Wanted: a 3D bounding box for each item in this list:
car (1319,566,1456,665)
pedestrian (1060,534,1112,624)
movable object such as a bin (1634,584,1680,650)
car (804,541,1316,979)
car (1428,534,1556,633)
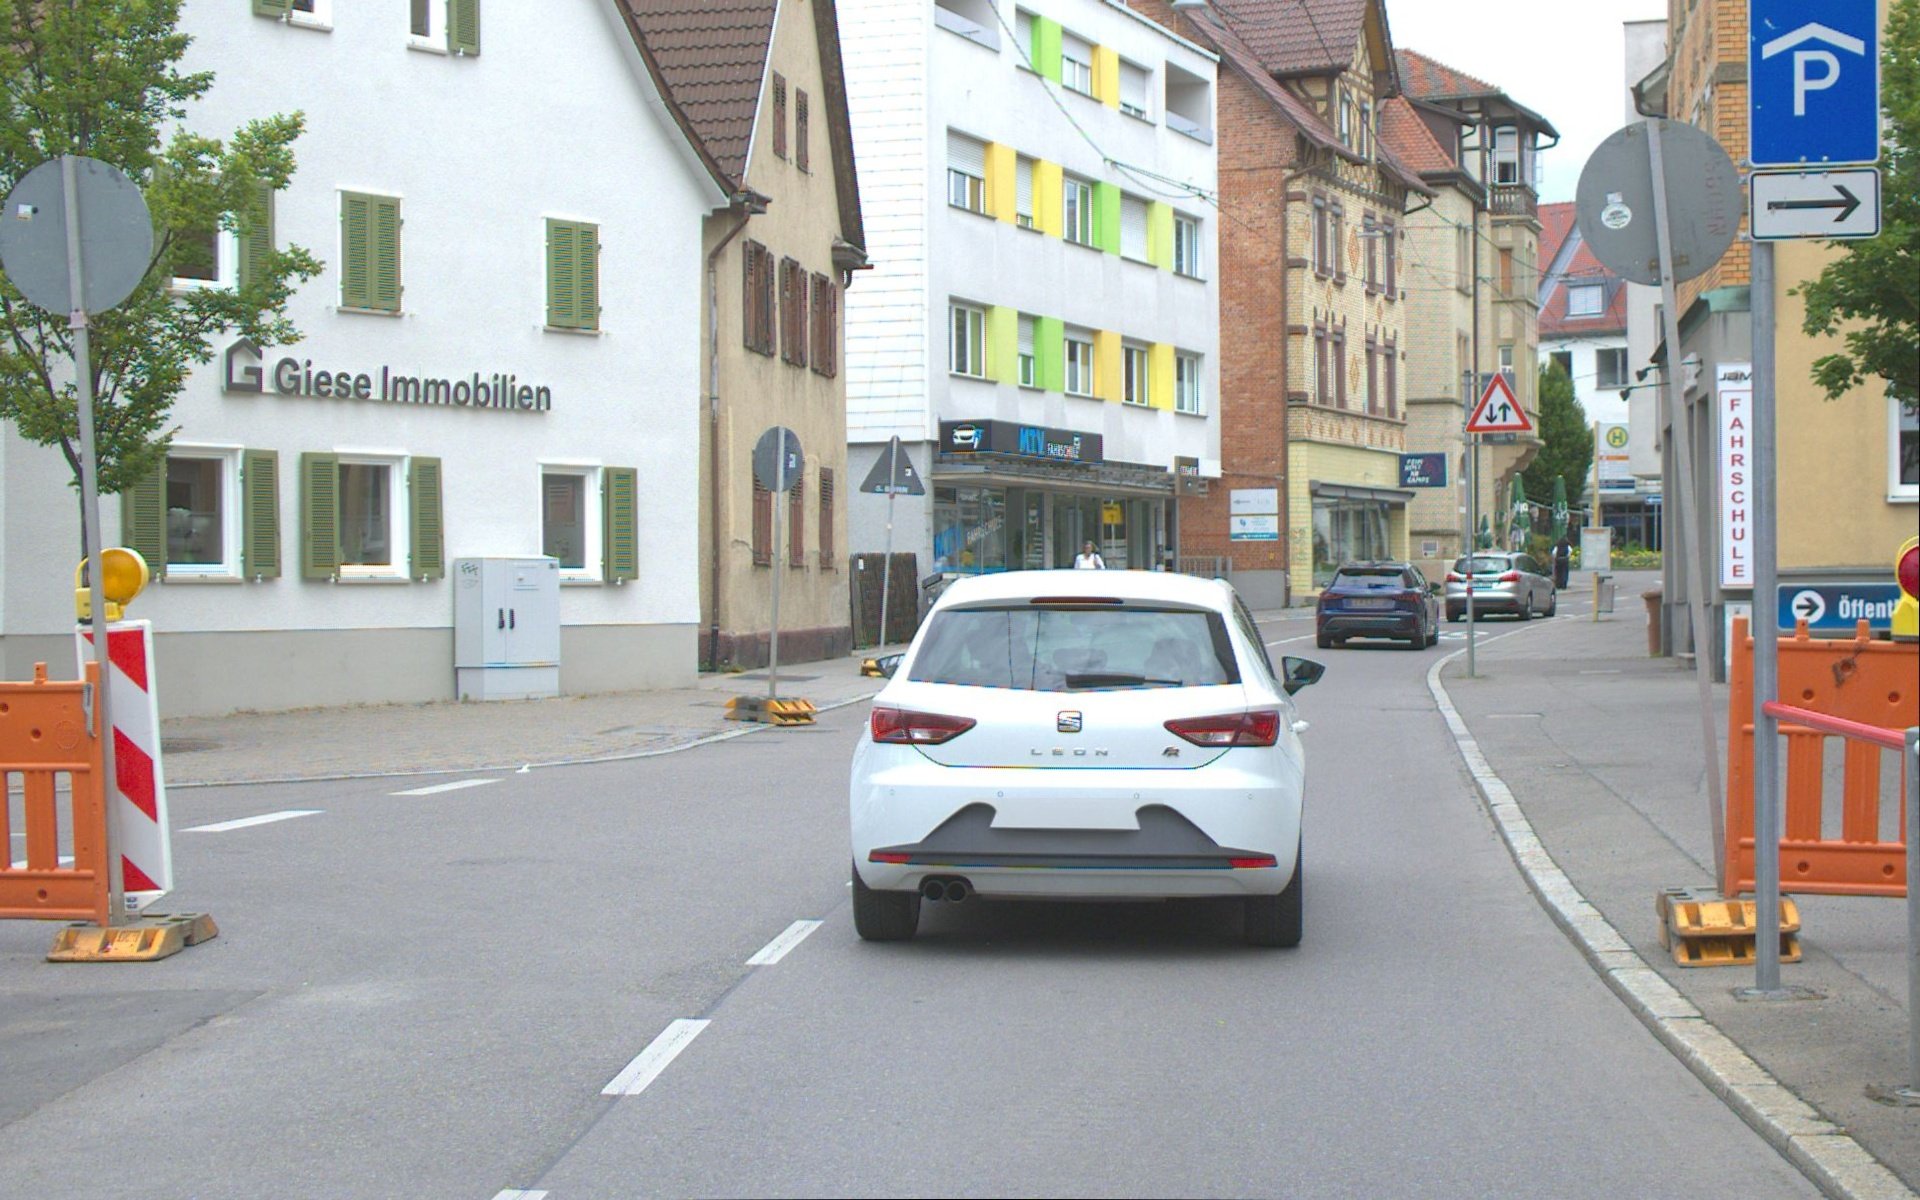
[{"bbox_3d":[7.029,0.232,56.255,1.812,1.475,3.868,0,2,13],"label":"car"},{"bbox_3d":[2.343,-0.396,63.934,0.892,1.659,0.861,-1,1,6],"label":"pedestrian"},{"bbox_3d":[9.869,0.237,48.642,0.620,0.918,0.581,0,1,13],"label":"movable object such as a bin"},{"bbox_3d":[0.551,0.544,14.392,1.812,1.475,3.870,1,2,6],"label":"car"},{"bbox_3d":[11.266,-0.367,72.562,1.995,2.007,3.996,0,1,19],"label":"car"}]
